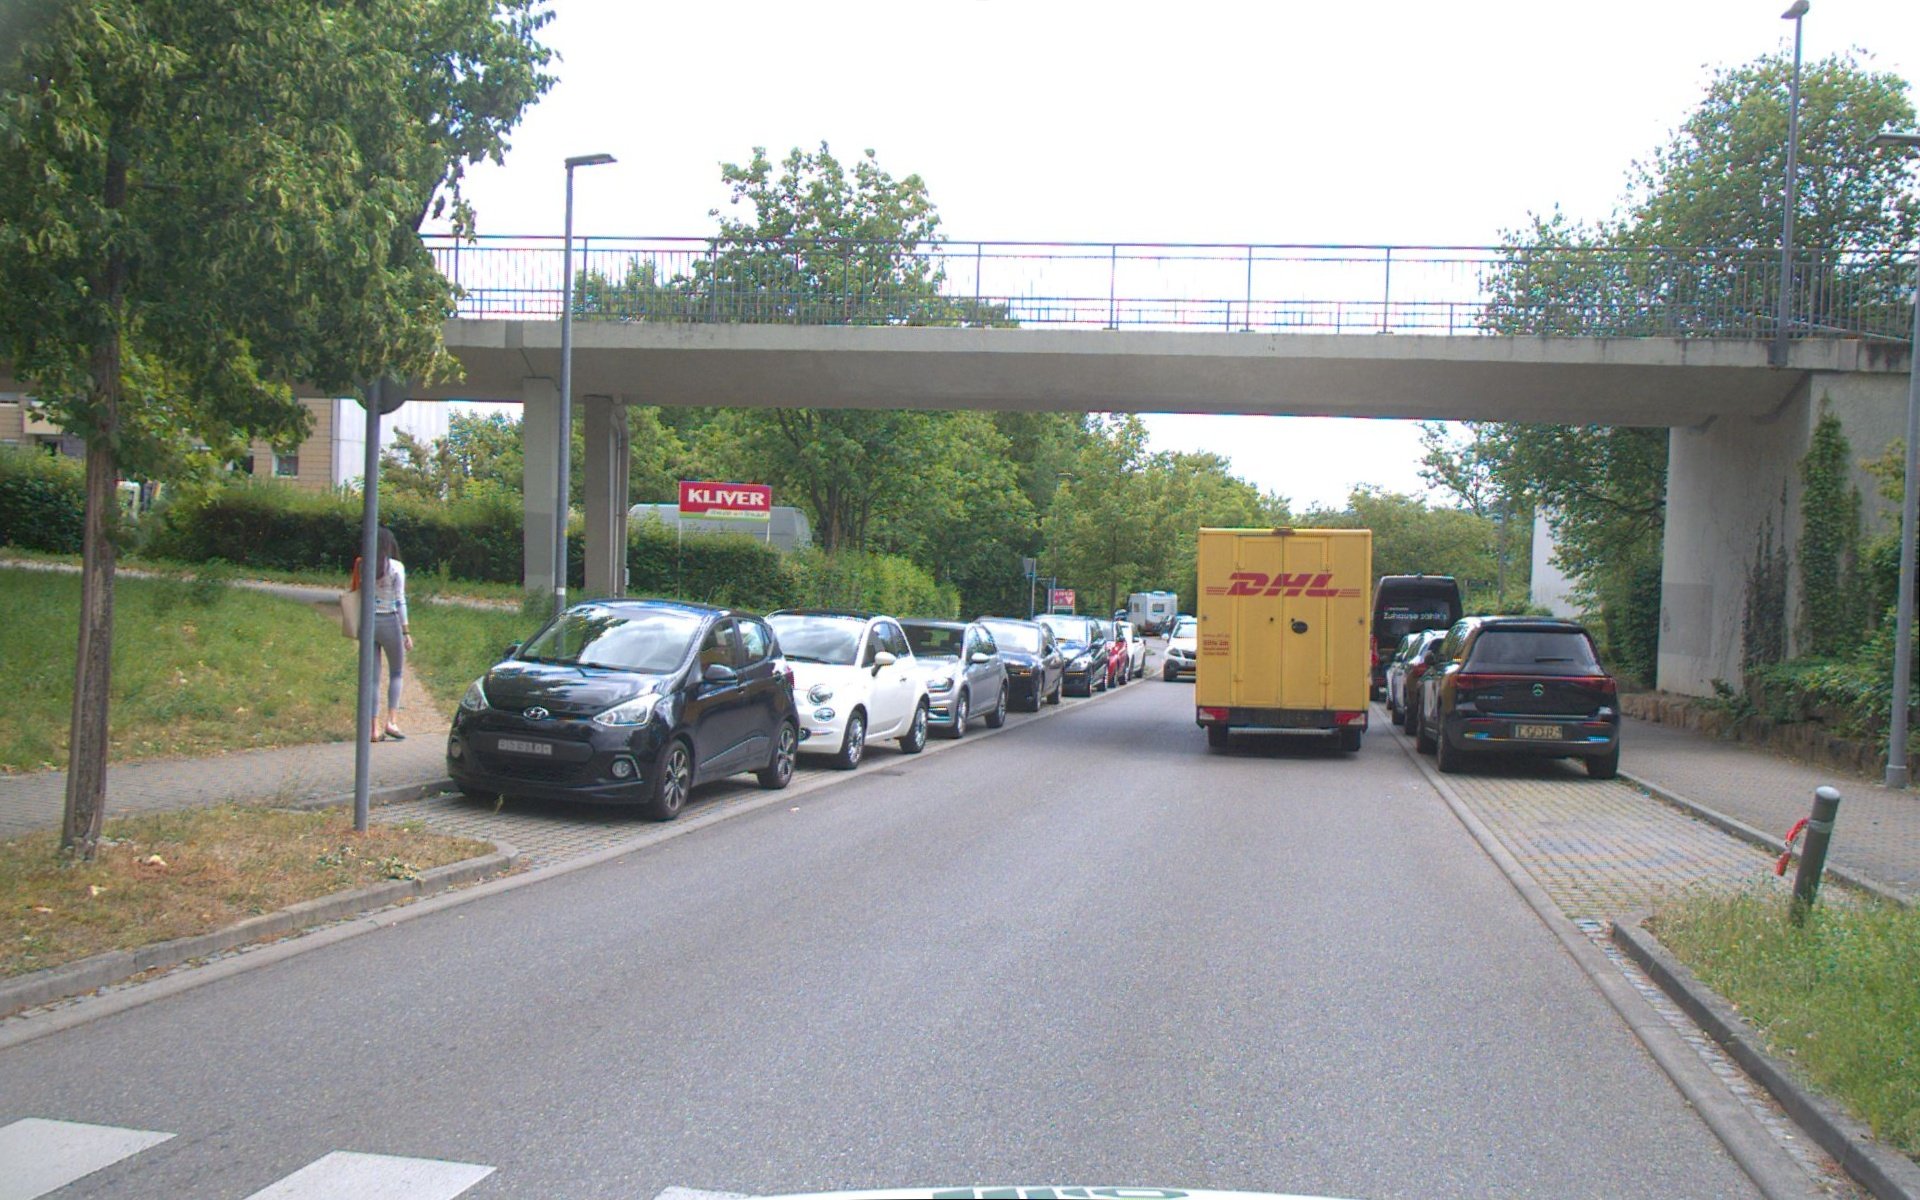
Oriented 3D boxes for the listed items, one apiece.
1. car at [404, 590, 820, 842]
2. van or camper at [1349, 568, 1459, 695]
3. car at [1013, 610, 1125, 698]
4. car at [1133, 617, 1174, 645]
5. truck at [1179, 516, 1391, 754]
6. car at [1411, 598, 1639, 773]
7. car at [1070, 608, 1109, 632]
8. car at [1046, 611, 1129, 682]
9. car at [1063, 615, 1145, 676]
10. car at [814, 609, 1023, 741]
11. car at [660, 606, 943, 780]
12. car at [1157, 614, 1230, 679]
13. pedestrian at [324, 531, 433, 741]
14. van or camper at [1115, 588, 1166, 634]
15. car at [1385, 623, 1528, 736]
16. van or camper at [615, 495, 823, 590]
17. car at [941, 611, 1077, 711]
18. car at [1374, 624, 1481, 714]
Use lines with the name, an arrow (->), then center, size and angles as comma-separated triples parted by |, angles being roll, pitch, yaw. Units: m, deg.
car -> -2.463, 0.738, 12.803 | 1.748, 1.493, 4.004 | 4, 1, 9
van or camper -> 9.607, 0.701, 36.149 | 1.951, 2.567, 5.475 | 0, -1, 11
car -> 2.347, 1.097, 34.809 | 1.845, 1.586, 3.841 | 5, 0, 10
car -> 12.378, 1.967, 105.898 | 1.808, 1.556, 3.996 | 2, 1, -5
truck -> 4.419, 0.435, 22.691 | 2.413, 2.750, 6.830 | 1, -1, 11
car -> 6.246, 0.921, 18.741 | 1.775, 1.708, 4.373 | 1, -2, 10
car -> 9.787, 1.493, 125.234 | 1.812, 1.556, 3.987 | 2, 1, -14
car -> 3.043, 1.084, 39.082 | 1.496, 1.532, 2.715 | 3, 0, 13
car -> 3.839, 1.171, 43.663 | 1.639, 1.461, 3.972 | 3, 0, 12
car -> -0.449, 0.922, 22.153 | 1.844, 1.452, 4.004 | 3, 1, 12
car -> -1.513, 0.869, 17.149 | 1.845, 1.485, 3.549 | 3, 0, 12
car -> 6.385, 1.221, 44.942 | 1.710, 1.639, 4.055 | 1, 0, 11
pedestrian -> -5.012, 0.302, 14.238 | 0.729, 1.751, 0.653 | 2, 1, -30
van or camper -> 12.306, 0.701, 113.105 | 2.279, 2.922, 5.253 | 2, 0, -7
car -> 7.491, 1.148, 25.247 | 1.663, 1.523, 4.122 | 1, -1, 11
van or camper -> -6.026, -1.428, 41.645 | 4.751, 2.122, 2.002 | 3, 1, 7
car -> 0.953, 1.018, 29.121 | 1.844, 1.535, 4.455 | 3, 0, 8
car -> 8.570, 1.220, 30.525 | 1.529, 1.522, 3.333 | 1, -1, 10
